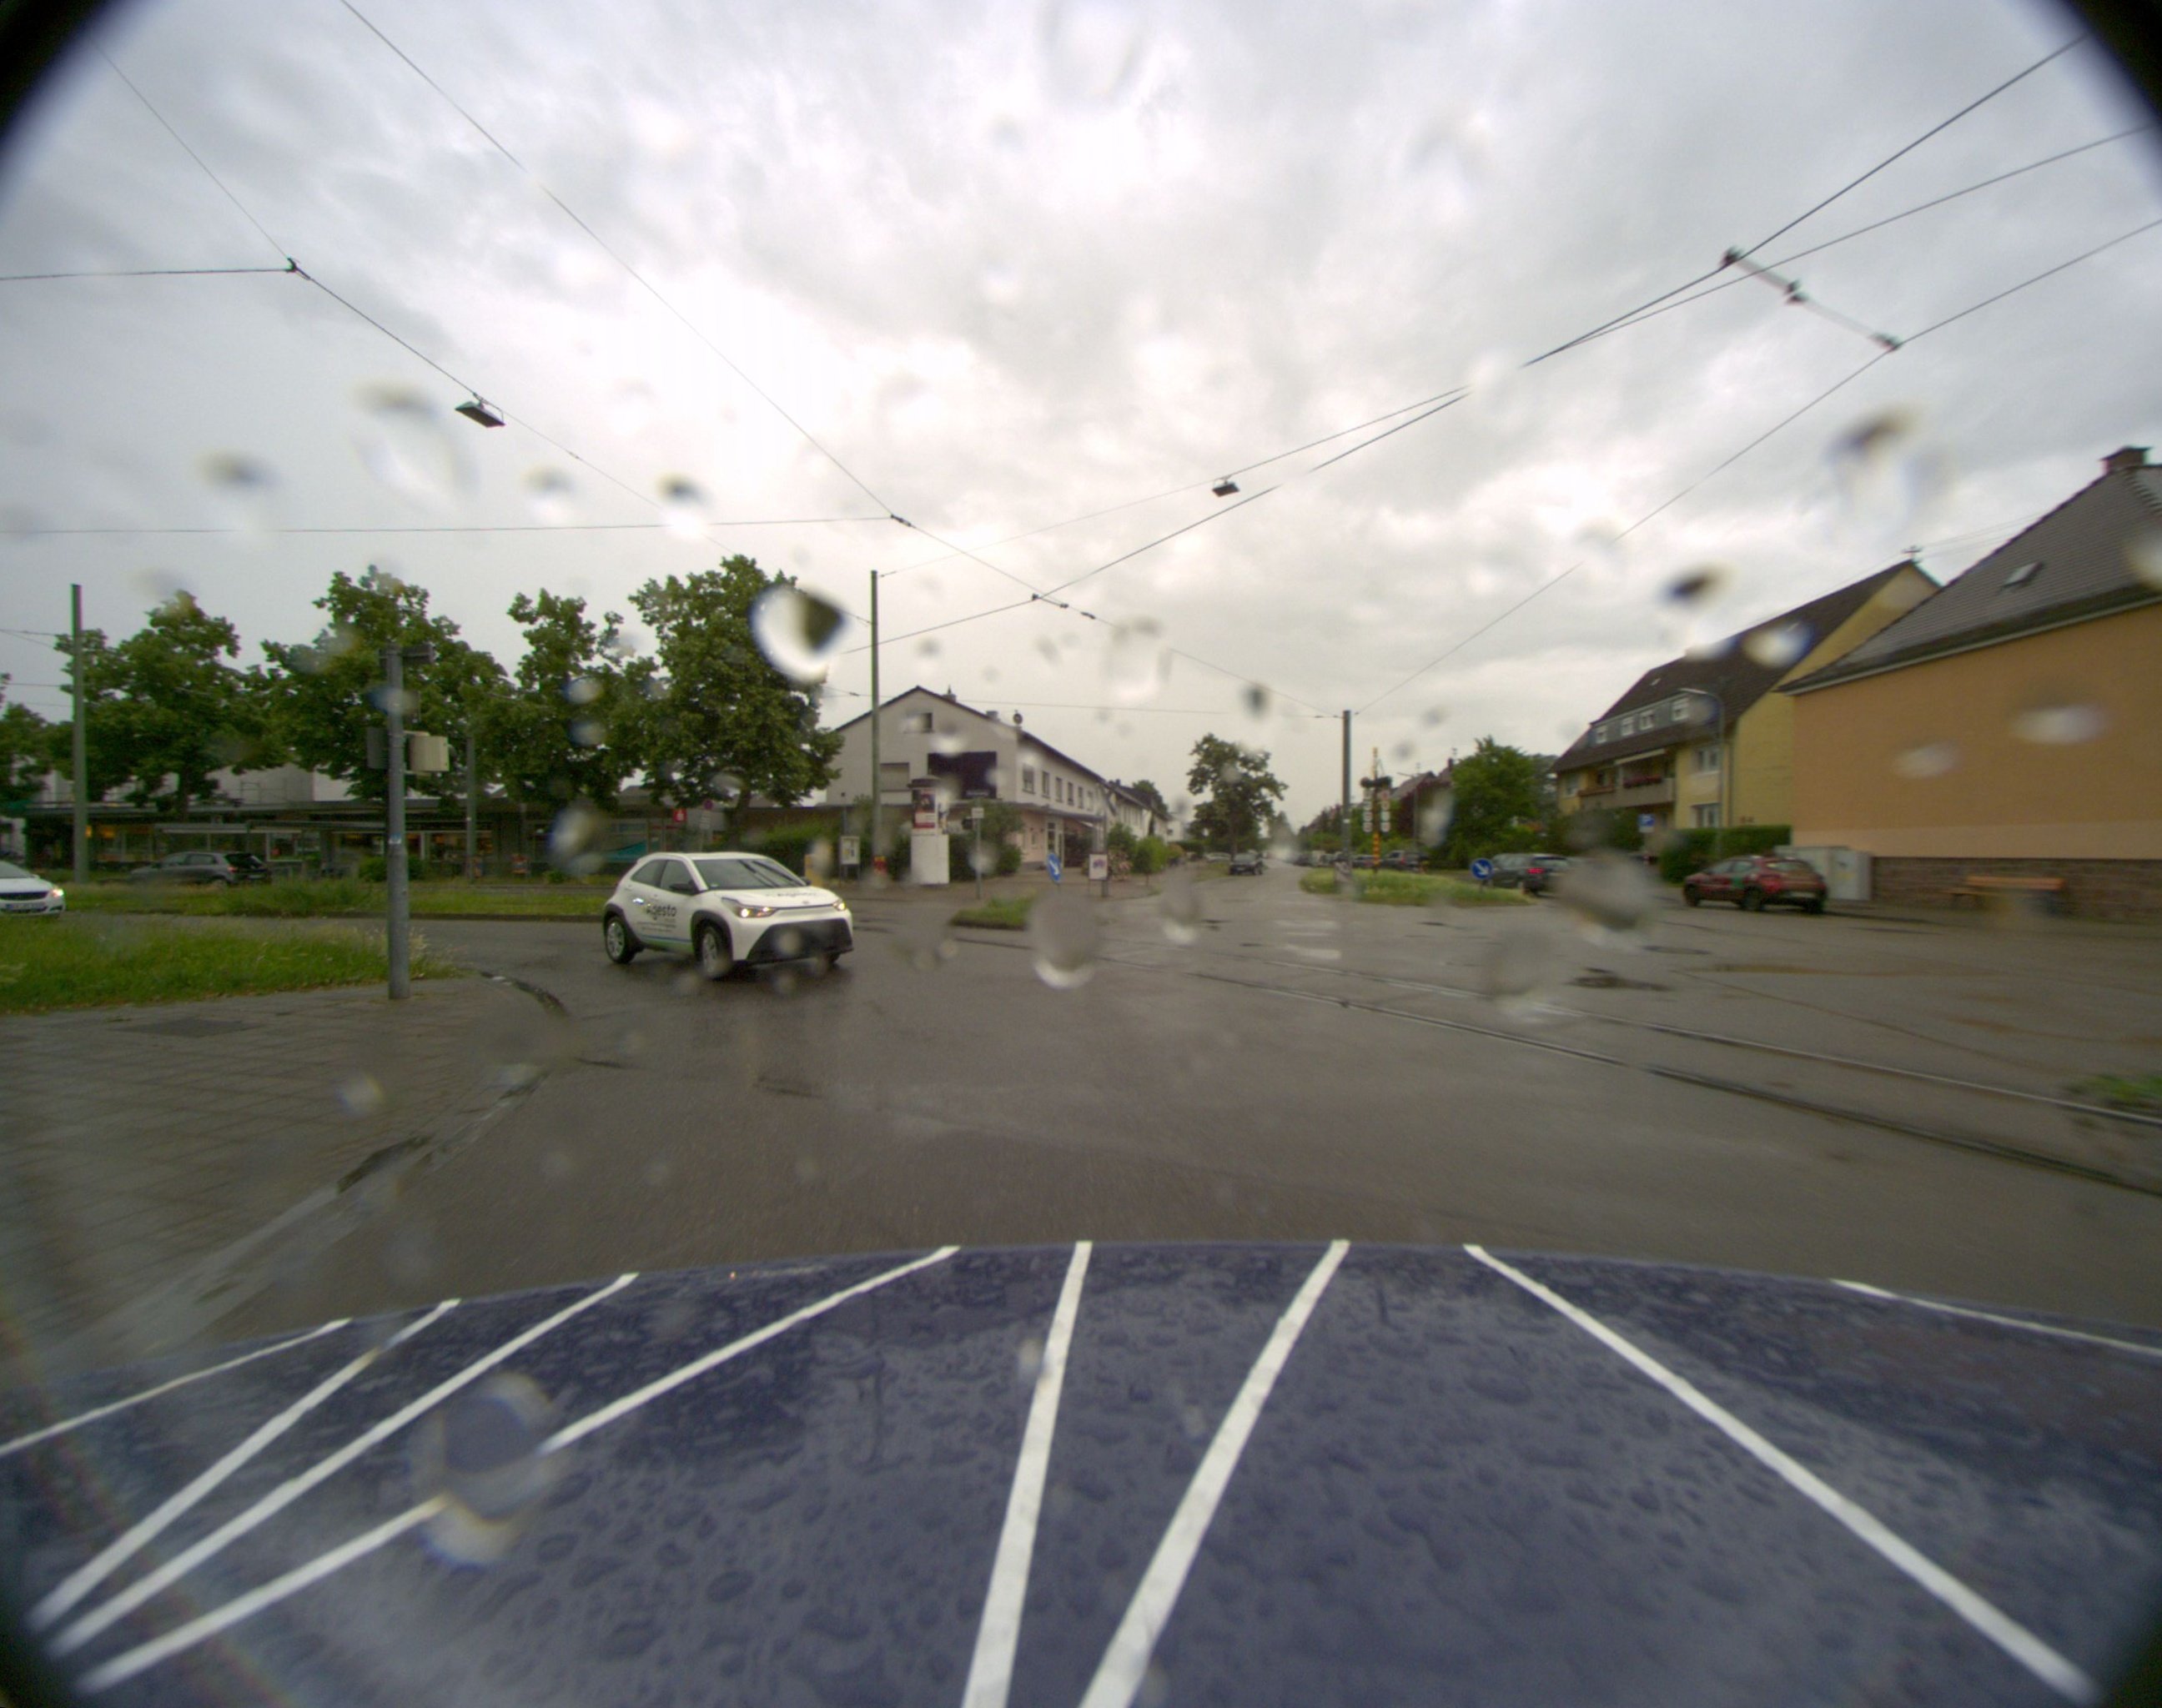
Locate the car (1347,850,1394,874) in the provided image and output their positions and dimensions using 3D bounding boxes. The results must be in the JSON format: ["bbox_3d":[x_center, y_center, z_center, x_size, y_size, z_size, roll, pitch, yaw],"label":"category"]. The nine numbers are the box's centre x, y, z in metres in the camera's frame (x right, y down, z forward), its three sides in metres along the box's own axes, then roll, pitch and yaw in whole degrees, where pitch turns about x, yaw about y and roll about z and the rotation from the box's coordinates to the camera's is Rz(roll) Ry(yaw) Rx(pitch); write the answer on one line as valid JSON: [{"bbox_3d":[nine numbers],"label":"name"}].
[{"bbox_3d":[21.317,0.543,56.125,1.998,1.565,4.125,0,3,2],"label":"car"}]

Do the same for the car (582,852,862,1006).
[{"bbox_3d":[-4.811,0.852,10.027,3.704,1.614,1.724,-1,1,37],"label":"car"}]

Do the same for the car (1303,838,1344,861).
[{"bbox_3d":[16.094,-0.318,50.635,1.997,1.467,4.003,0,0,9],"label":"car"}]

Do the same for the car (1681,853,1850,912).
[{"bbox_3d":[18.870,0.730,21.177,1.720,1.331,3.617,0,3,8],"label":"car"}]

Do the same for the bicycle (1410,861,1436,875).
[{"bbox_3d":[19.423,0.774,43.182,0.941,0.782,1.821,0,0,9],"label":"bicycle"}]

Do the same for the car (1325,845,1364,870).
[{"bbox_3d":[21.516,0.260,62.207,1.998,1.784,3.999,0,3,3],"label":"car"}]

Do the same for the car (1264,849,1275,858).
[{"bbox_3d":[42.382,-0.103,171.248,1.997,1.784,4.001,0,3,9],"label":"car"}]

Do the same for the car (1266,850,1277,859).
[{"bbox_3d":[41.639,0.116,166.464,1.997,1.784,4.001,0,3,9],"label":"car"}]

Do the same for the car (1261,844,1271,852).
[{"bbox_3d":[44.909,-1.425,184.356,1.997,1.784,4.001,0,3,9],"label":"car"}]

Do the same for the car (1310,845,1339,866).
[{"bbox_3d":[23.353,0.141,73.044,1.997,1.784,4.001,0,3,9],"label":"car"}]

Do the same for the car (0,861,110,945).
[{"bbox_3d":[-23.608,0.987,16.074,3.994,1.544,1.964,2,2,7],"label":"car"}]

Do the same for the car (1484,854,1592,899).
[{"bbox_3d":[16.429,0.755,27.585,1.997,1.467,4.003,0,0,9],"label":"car"}]

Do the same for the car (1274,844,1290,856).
[{"bbox_3d":[31.441,-0.649,119.081,1.997,1.784,4.001,0,3,9],"label":"car"}]

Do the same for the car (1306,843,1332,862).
[{"bbox_3d":[25.148,-0.204,80.486,1.997,1.784,4.001,0,3,9],"label":"car"}]

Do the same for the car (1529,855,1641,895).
[{"bbox_3d":[19.890,0.766,30.258,1.964,1.388,4.507,0,1,8],"label":"car"}]

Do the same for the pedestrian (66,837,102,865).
[{"bbox_3d":[-58.564,-0.188,44.633,0.945,1.575,1.082,1,1,22],"label":"pedestrian"}]

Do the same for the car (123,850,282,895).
[{"bbox_3d":[-31.886,0.649,27.672,3.622,1.495,1.550,-1,3,-6],"label":"car"}]

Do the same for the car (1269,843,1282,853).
[{"bbox_3d":[38.020,-1.183,148.343,1.997,1.784,4.001,0,3,9],"label":"car"}]

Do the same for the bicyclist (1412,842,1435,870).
[{"bbox_3d":[19.410,0.114,43.127,0.948,1.588,1.043,0,0,9],"label":"bicyclist"}]

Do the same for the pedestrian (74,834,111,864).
[{"bbox_3d":[-57.535,-0.285,44.235,0.945,1.704,1.082,1,1,22],"label":"pedestrian"}]

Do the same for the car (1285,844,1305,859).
[{"bbox_3d":[27.166,-0.301,96.545,1.997,1.784,4.001,0,3,9],"label":"car"}]

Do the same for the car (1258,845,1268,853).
[{"bbox_3d":[45.665,-1.182,190.717,1.997,1.784,4.001,0,3,9],"label":"car"}]

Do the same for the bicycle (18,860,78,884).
[{"bbox_3d":[-46.759,0.807,34.401,1.750,1.066,0.593,0,0,-6],"label":"bicycle"}]

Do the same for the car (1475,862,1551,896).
[{"bbox_3d":[20.508,1.150,36.271,1.757,1.325,4.000,0,3,7],"label":"car"}]

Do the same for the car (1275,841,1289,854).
[{"bbox_3d":[33.295,-1.093,126.061,1.997,2.023,4.001,0,3,11],"label":"car"}]

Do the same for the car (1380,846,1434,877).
[{"bbox_3d":[21.411,0.452,50.055,1.998,1.784,3.999,0,3,3],"label":"car"}]

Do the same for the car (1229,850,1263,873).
[{"bbox_3d":[11.713,0.498,53.827,1.785,1.454,4.004,1,3,20],"label":"car"}]

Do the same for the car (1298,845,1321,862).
[{"bbox_3d":[25.775,-0.063,85.802,1.997,1.784,4.001,0,3,9],"label":"car"}]

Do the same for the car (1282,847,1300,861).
[{"bbox_3d":[29.933,-0.066,108.485,1.997,1.784,4.001,0,3,9],"label":"car"}]

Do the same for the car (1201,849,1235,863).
[{"bbox_3d":[16.399,0.230,91.079,3.994,1.673,2.000,0,3,9],"label":"car"}]
